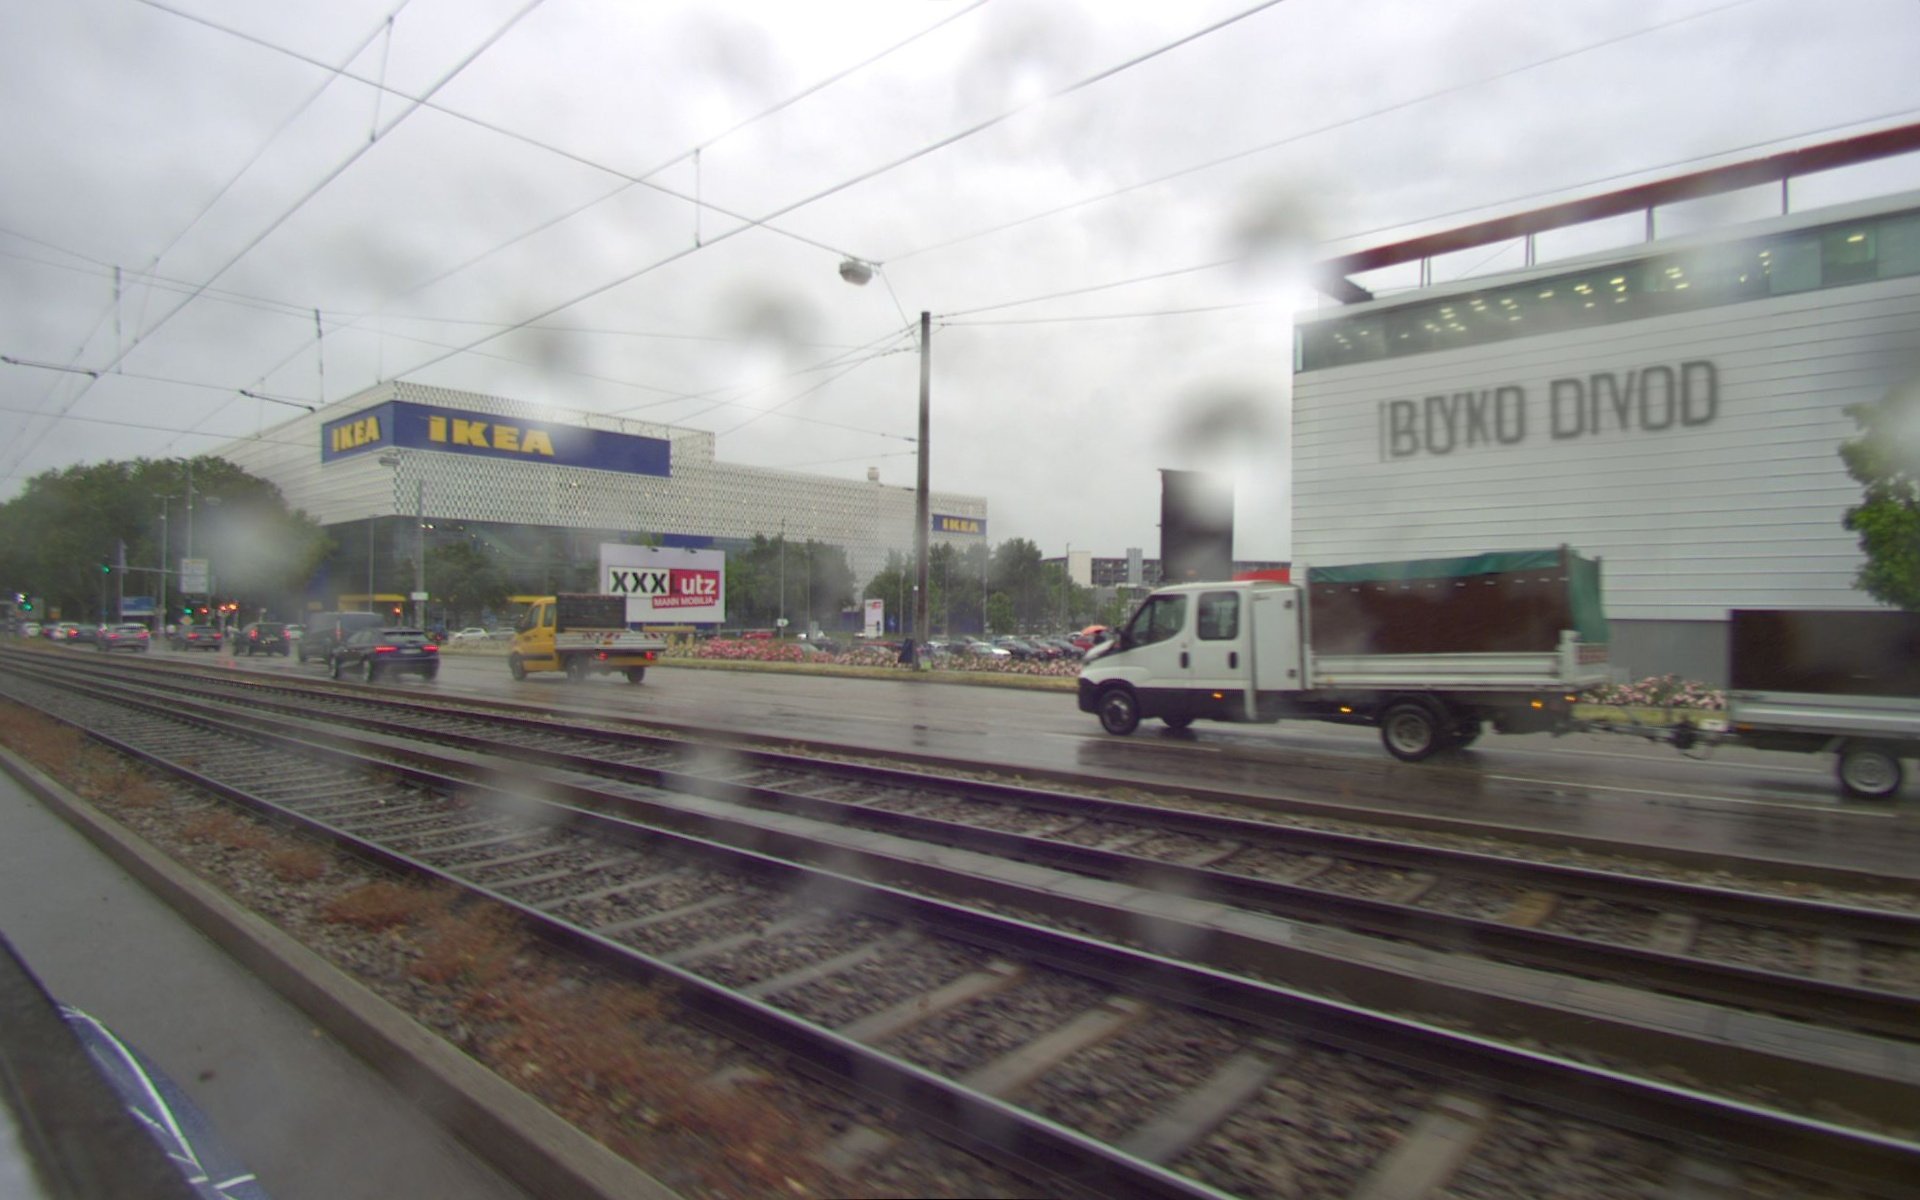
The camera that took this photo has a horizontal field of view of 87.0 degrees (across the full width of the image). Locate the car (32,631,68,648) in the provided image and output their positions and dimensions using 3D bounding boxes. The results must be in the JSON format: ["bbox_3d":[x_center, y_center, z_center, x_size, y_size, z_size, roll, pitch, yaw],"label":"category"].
[{"bbox_3d":[-82.523,3.611,91.766,5.083,1.434,1.902,-3,-6,43],"label":"car"}]

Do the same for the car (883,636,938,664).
[{"bbox_3d":[-3.958,3.947,80.714,3.995,2.029,1.974,-1,1,39],"label":"car"}]

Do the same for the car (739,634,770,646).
[{"bbox_3d":[-27.996,5.441,137.949,1.603,1.417,3.929,-1,1,43],"label":"car"}]

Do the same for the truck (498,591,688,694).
[{"bbox_3d":[-10.009,1.108,27.296,6.065,2.480,2.203,-1,-3,42],"label":"truck"}]

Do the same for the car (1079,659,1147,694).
[{"bbox_3d":[10.122,5.060,67.177,3.995,2.029,1.974,-1,1,39],"label":"car"}]

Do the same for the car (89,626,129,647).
[{"bbox_3d":[-75.048,3.228,89.221,4.839,1.618,1.888,-2,1,41],"label":"car"}]

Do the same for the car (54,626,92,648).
[{"bbox_3d":[-72.260,3.018,82.442,4.328,1.585,1.853,-3,0,43],"label":"car"}]

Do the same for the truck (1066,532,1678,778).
[{"bbox_3d":[5.031,0.638,13.537,7.218,2.476,2.408,-1,-2,43],"label":"truck"}]

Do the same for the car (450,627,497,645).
[{"bbox_3d":[-51.384,3.803,106.958,2.000,1.615,4.053,-1,1,42],"label":"car"}]

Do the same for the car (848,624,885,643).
[{"bbox_3d":[-10.758,3.832,116.460,3.995,2.029,1.974,-1,1,38],"label":"car"}]

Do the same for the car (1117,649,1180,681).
[{"bbox_3d":[13.563,4.653,72.770,3.996,2.029,1.974,-1,1,39],"label":"car"}]

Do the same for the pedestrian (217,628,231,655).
[{"bbox_3d":[-64.561,3.636,88.807,0.906,2.261,0.992,-3,3,-35],"label":"pedestrian"}]

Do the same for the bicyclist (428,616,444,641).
[{"bbox_3d":[-34.689,1.884,67.015,0.791,1.601,0.664,-1,1,41],"label":"bicyclist"}]

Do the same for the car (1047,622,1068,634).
[{"bbox_3d":[18.744,5.322,194.548,2.000,2.029,3.944,-1,1,42],"label":"car"}]

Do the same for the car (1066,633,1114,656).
[{"bbox_3d":[12.281,4.165,95.545,3.995,2.029,1.974,-1,1,38],"label":"car"}]

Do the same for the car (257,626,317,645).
[{"bbox_3d":[-62.924,3.303,94.678,1.819,1.552,4.400,-3,-1,43],"label":"car"}]

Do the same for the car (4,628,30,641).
[{"bbox_3d":[-103.319,3.767,110.858,4.460,1.259,1.694,-3,0,42],"label":"car"}]

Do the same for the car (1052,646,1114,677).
[{"bbox_3d":[8.947,4.422,73.622,3.996,2.029,1.974,-1,1,39],"label":"car"}]

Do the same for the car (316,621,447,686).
[{"bbox_3d":[-16.065,1.406,27.990,4.534,1.635,1.799,-1,-1,41],"label":"car"}]

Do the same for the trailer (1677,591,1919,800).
[{"bbox_3d":[9.317,0.838,9.658,3.835,1.806,2.097,-1,1,42],"label":"trailer"}]

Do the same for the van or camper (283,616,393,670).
[{"bbox_3d":[-24.876,1.659,40.399,5.685,2.029,2.280,-1,-2,43],"label":"van or camper"}]

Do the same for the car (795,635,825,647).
[{"bbox_3d":[-21.513,5.846,145.178,1.710,1.417,4.108,-1,1,43],"label":"car"}]

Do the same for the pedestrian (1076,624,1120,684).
[{"bbox_3d":[4.327,1.667,31.681,1.050,1.775,0.814,0,2,44],"label":"pedestrian"}]

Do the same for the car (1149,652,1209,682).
[{"bbox_3d":[16.734,5.069,77.312,3.996,2.029,1.974,-1,1,39],"label":"car"}]

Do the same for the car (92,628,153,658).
[{"bbox_3d":[-45.457,2.284,54.894,4.688,1.505,1.838,-1,-2,41],"label":"car"}]

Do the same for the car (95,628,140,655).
[{"bbox_3d":[-62.966,3.066,75.612,4.692,1.848,1.972,-1,-1,43],"label":"car"}]

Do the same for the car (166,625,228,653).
[{"bbox_3d":[-43.604,2.219,57.785,4.552,1.528,1.943,-1,-3,42],"label":"car"}]

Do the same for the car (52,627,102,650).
[{"bbox_3d":[-60.505,2.648,69.302,4.670,1.468,1.972,-1,-3,42],"label":"car"}]

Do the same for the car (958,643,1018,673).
[{"bbox_3d":[2.084,4.337,75.974,4.086,2.029,1.974,-1,1,39],"label":"car"}]

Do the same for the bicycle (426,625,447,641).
[{"bbox_3d":[-34.664,2.184,67.003,1.555,1.023,0.661,-1,1,41],"label":"bicycle"}]

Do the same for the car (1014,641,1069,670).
[{"bbox_3d":[6.511,4.423,81.028,3.996,2.029,1.974,-1,1,39],"label":"car"}]

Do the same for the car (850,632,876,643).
[{"bbox_3d":[-14.570,5.685,152.066,1.603,1.417,3.771,-1,1,43],"label":"car"}]

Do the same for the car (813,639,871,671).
[{"bbox_3d":[-5.721,2.645,49.008,2.691,1.386,1.249,-1,1,39],"label":"car"}]

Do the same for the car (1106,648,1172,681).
[{"bbox_3d":[12.300,4.401,69.653,3.996,2.029,1.974,-1,1,39],"label":"car"}]

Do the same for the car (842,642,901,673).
[{"bbox_3d":[-6.404,4.130,73.026,3.995,2.029,1.974,-1,1,39],"label":"car"}]

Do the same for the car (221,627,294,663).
[{"bbox_3d":[-33.830,2.141,48.699,4.908,1.630,1.838,-1,-3,43],"label":"car"}]

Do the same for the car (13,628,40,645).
[{"bbox_3d":[-94.321,3.713,102.284,4.048,1.547,1.693,-3,-1,43],"label":"car"}]

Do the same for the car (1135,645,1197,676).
[{"bbox_3d":[15.174,4.436,74.609,3.996,2.029,1.974,-1,1,39],"label":"car"}]
